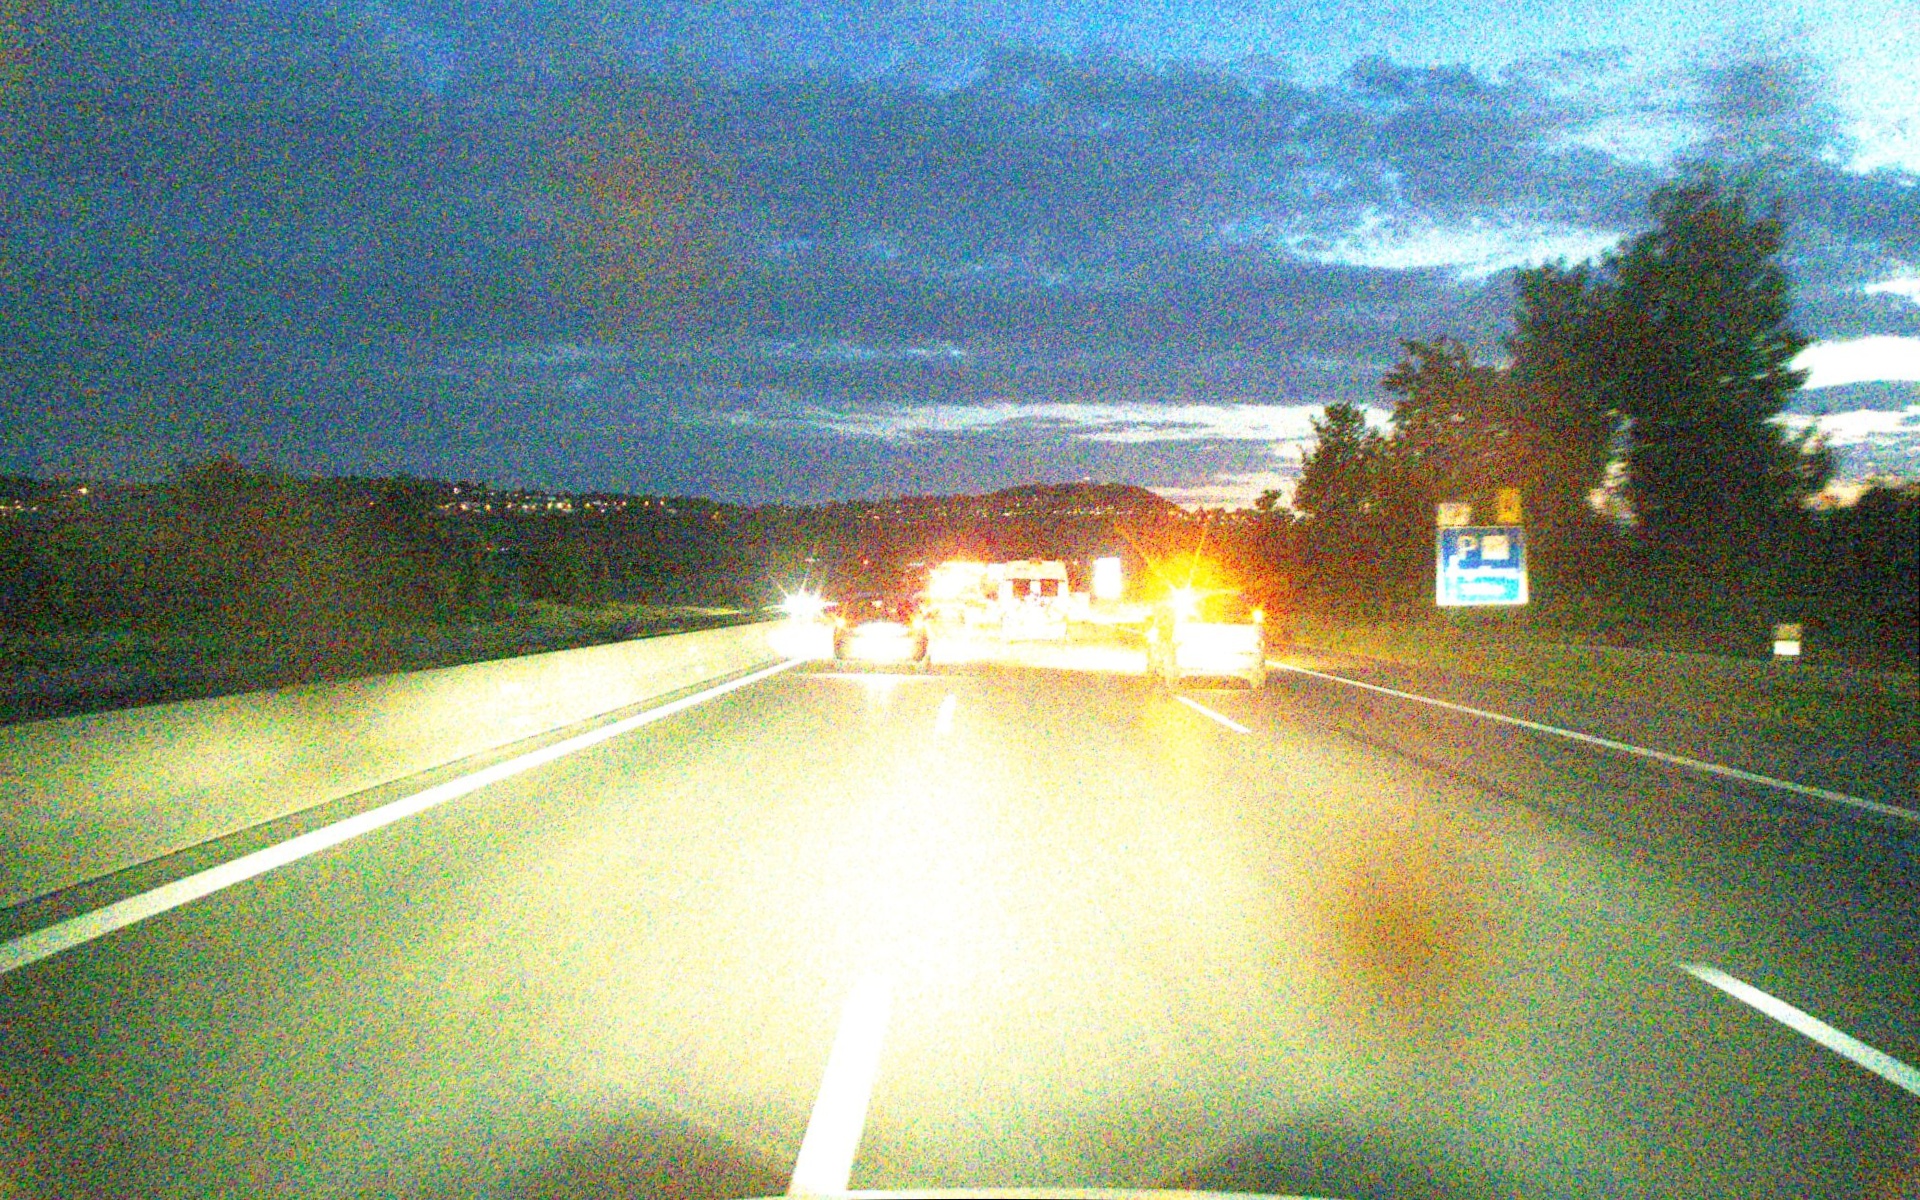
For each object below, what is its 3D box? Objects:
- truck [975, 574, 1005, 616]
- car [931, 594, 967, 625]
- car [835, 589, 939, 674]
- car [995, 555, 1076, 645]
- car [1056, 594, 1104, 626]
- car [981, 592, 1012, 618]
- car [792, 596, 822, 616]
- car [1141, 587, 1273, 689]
[{"bbox_3d":[2.913,-0.463,162.380,2.724,4.024,7.991,0,0,-1],"label":"truck"},{"bbox_3d":[-0.541,0.457,83.649,1.709,1.465,4.368,-1,1,1],"label":"car"},{"bbox_3d":[-1.338,0.551,31.607,1.757,1.494,3.773,1,1,1],"label":"car"},{"bbox_3d":[2.233,-0.033,50.469,2.303,2.579,5.701,-1,1,1],"label":"car"},{"bbox_3d":[6.018,0.482,83.530,2.118,1.591,4.723,0,0,1],"label":"car"},{"bbox_3d":[2.828,0.390,128.291,2.303,1.947,4.723,-1,0,1],"label":"car"},{"bbox_3d":[-12.916,0.503,139.874,1.864,1.671,5.299,-1,0,1],"label":"car"},{"bbox_3d":[4.235,0.610,28.913,1.612,1.624,4.509,1,0,0],"label":"car"}]
